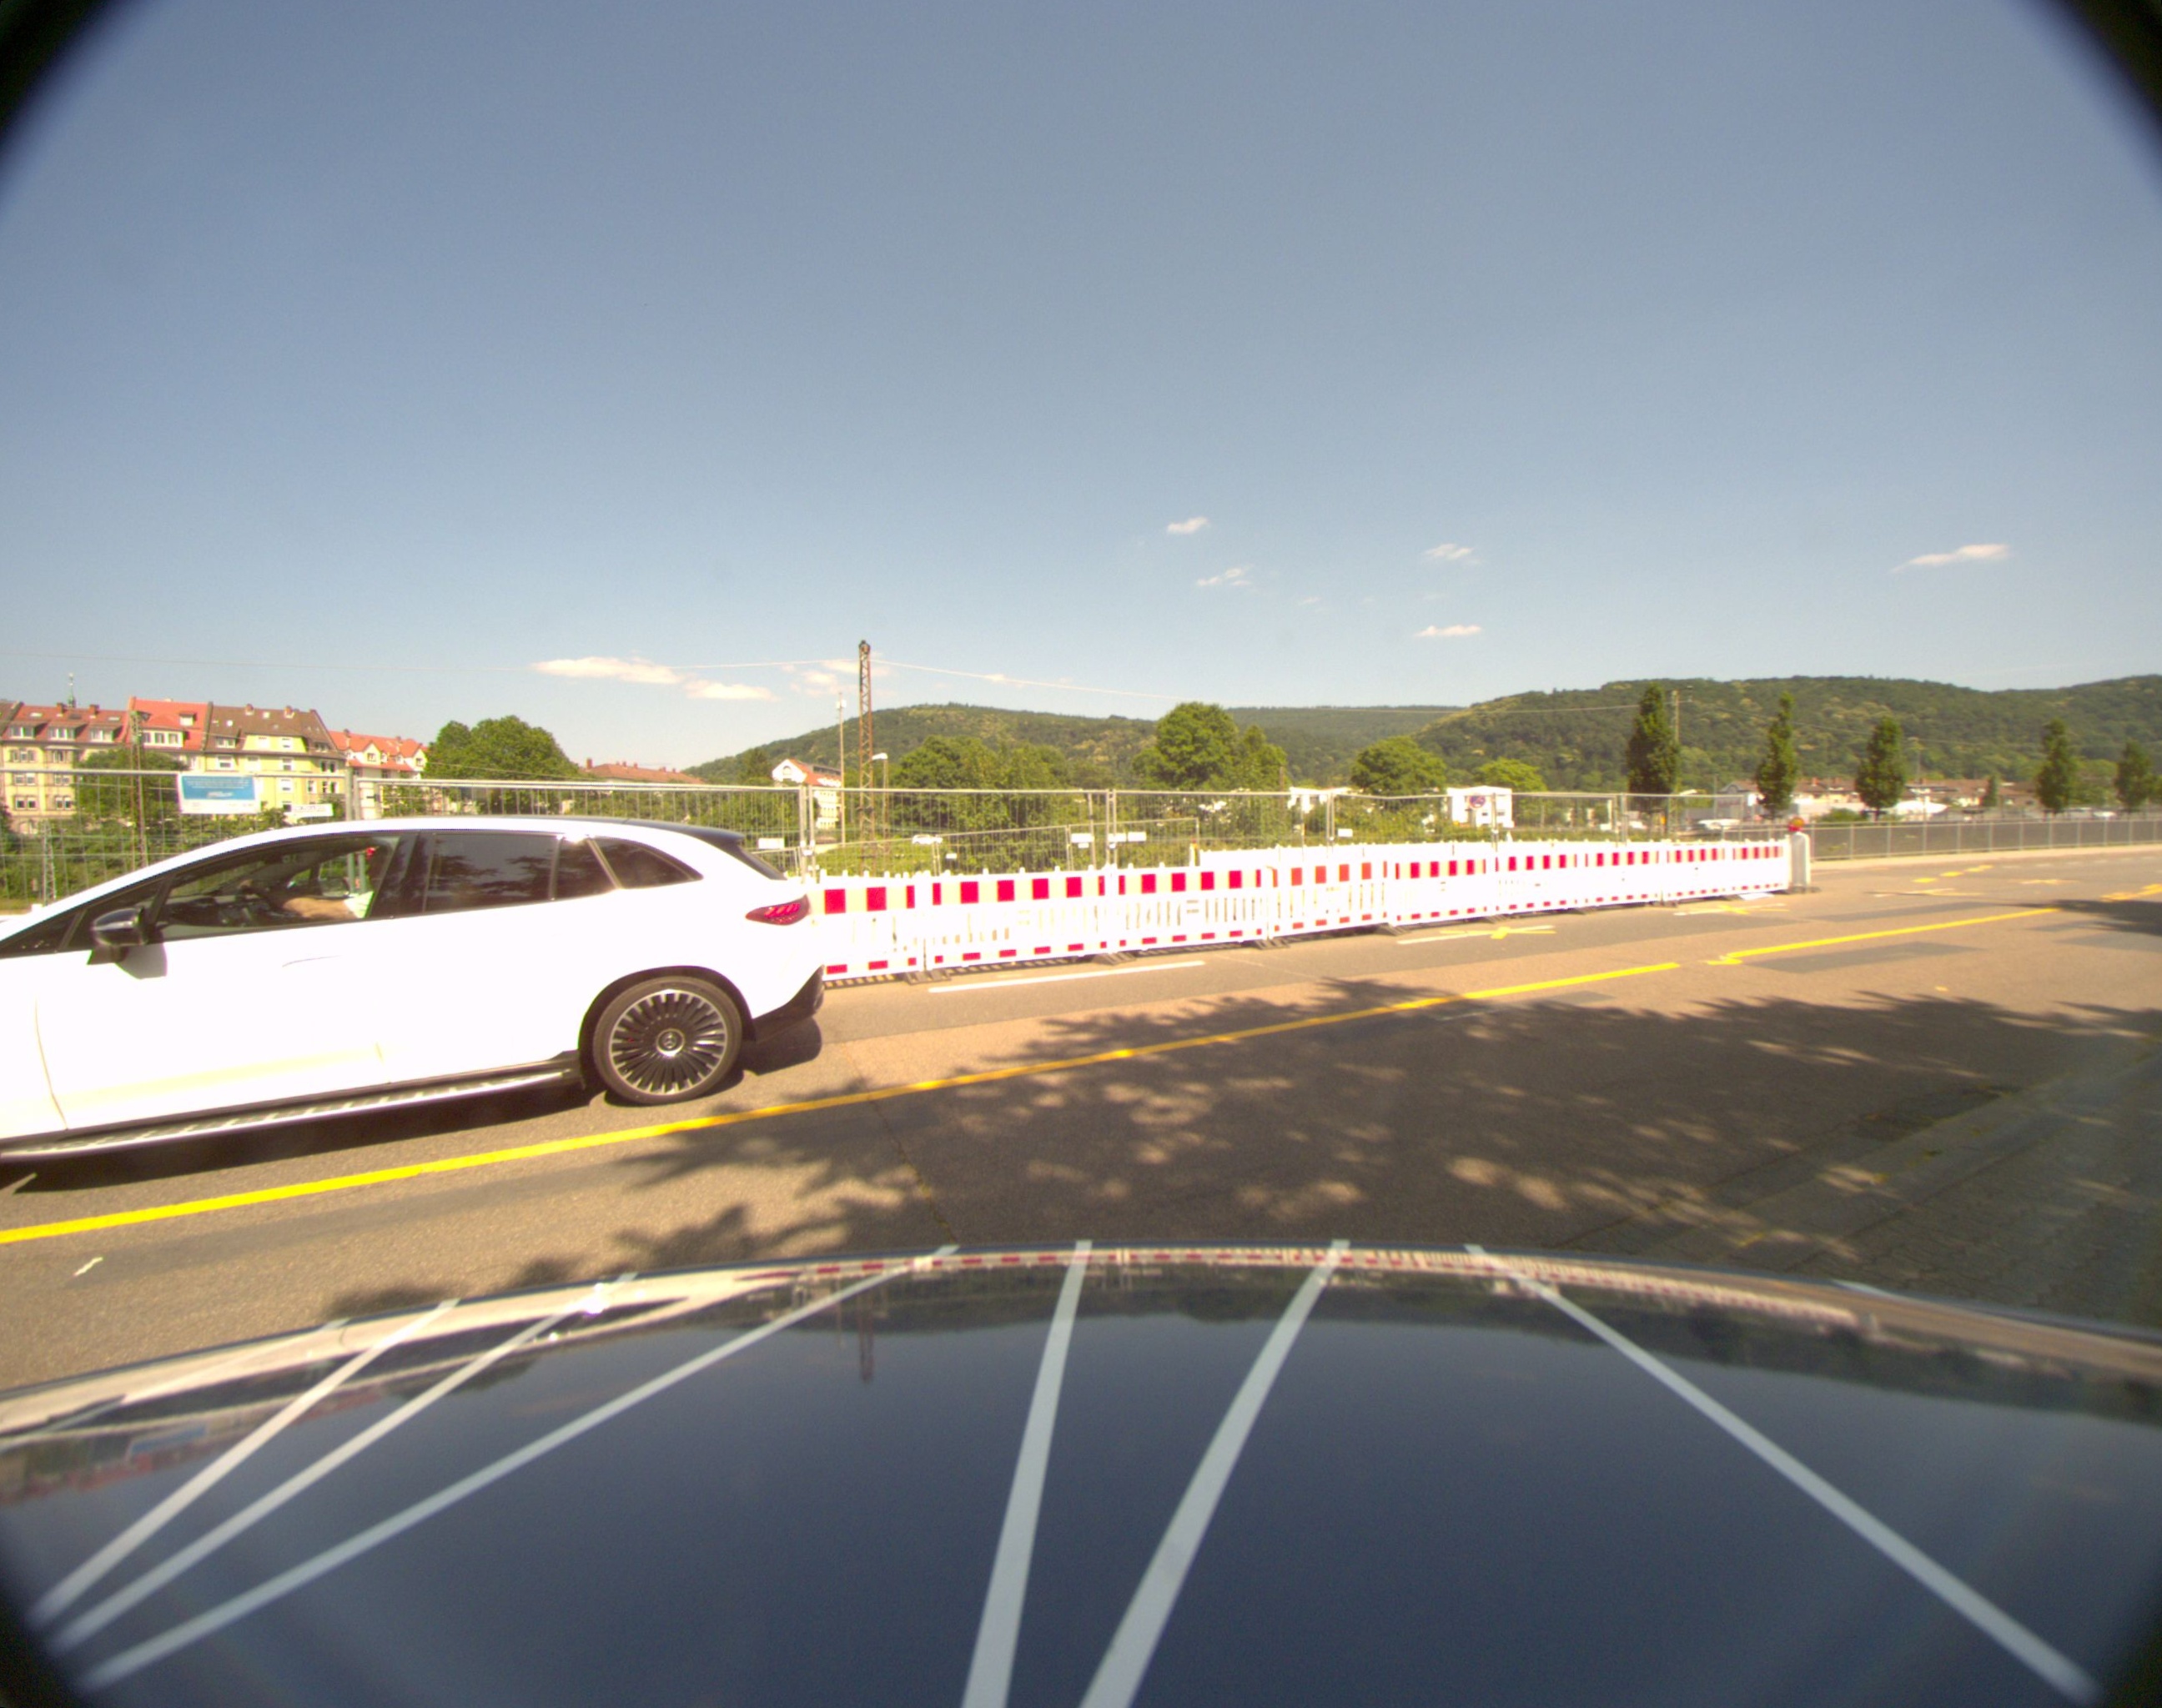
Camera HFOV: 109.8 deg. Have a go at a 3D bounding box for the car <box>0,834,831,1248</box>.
[{"bbox_3d":[-4.226,0.757,4.337,5.038,1.636,1.995,-2,3,-27],"label":"car"}]

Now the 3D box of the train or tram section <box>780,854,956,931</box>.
[{"bbox_3d":[-11.739,2.038,42.448,8.976,3.692,3.020,-3,0,-15],"label":"train or tram section"}]

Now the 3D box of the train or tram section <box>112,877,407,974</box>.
[{"bbox_3d":[-37.811,3.159,35.459,8.976,3.682,3.020,-3,0,-15],"label":"train or tram section"}]
